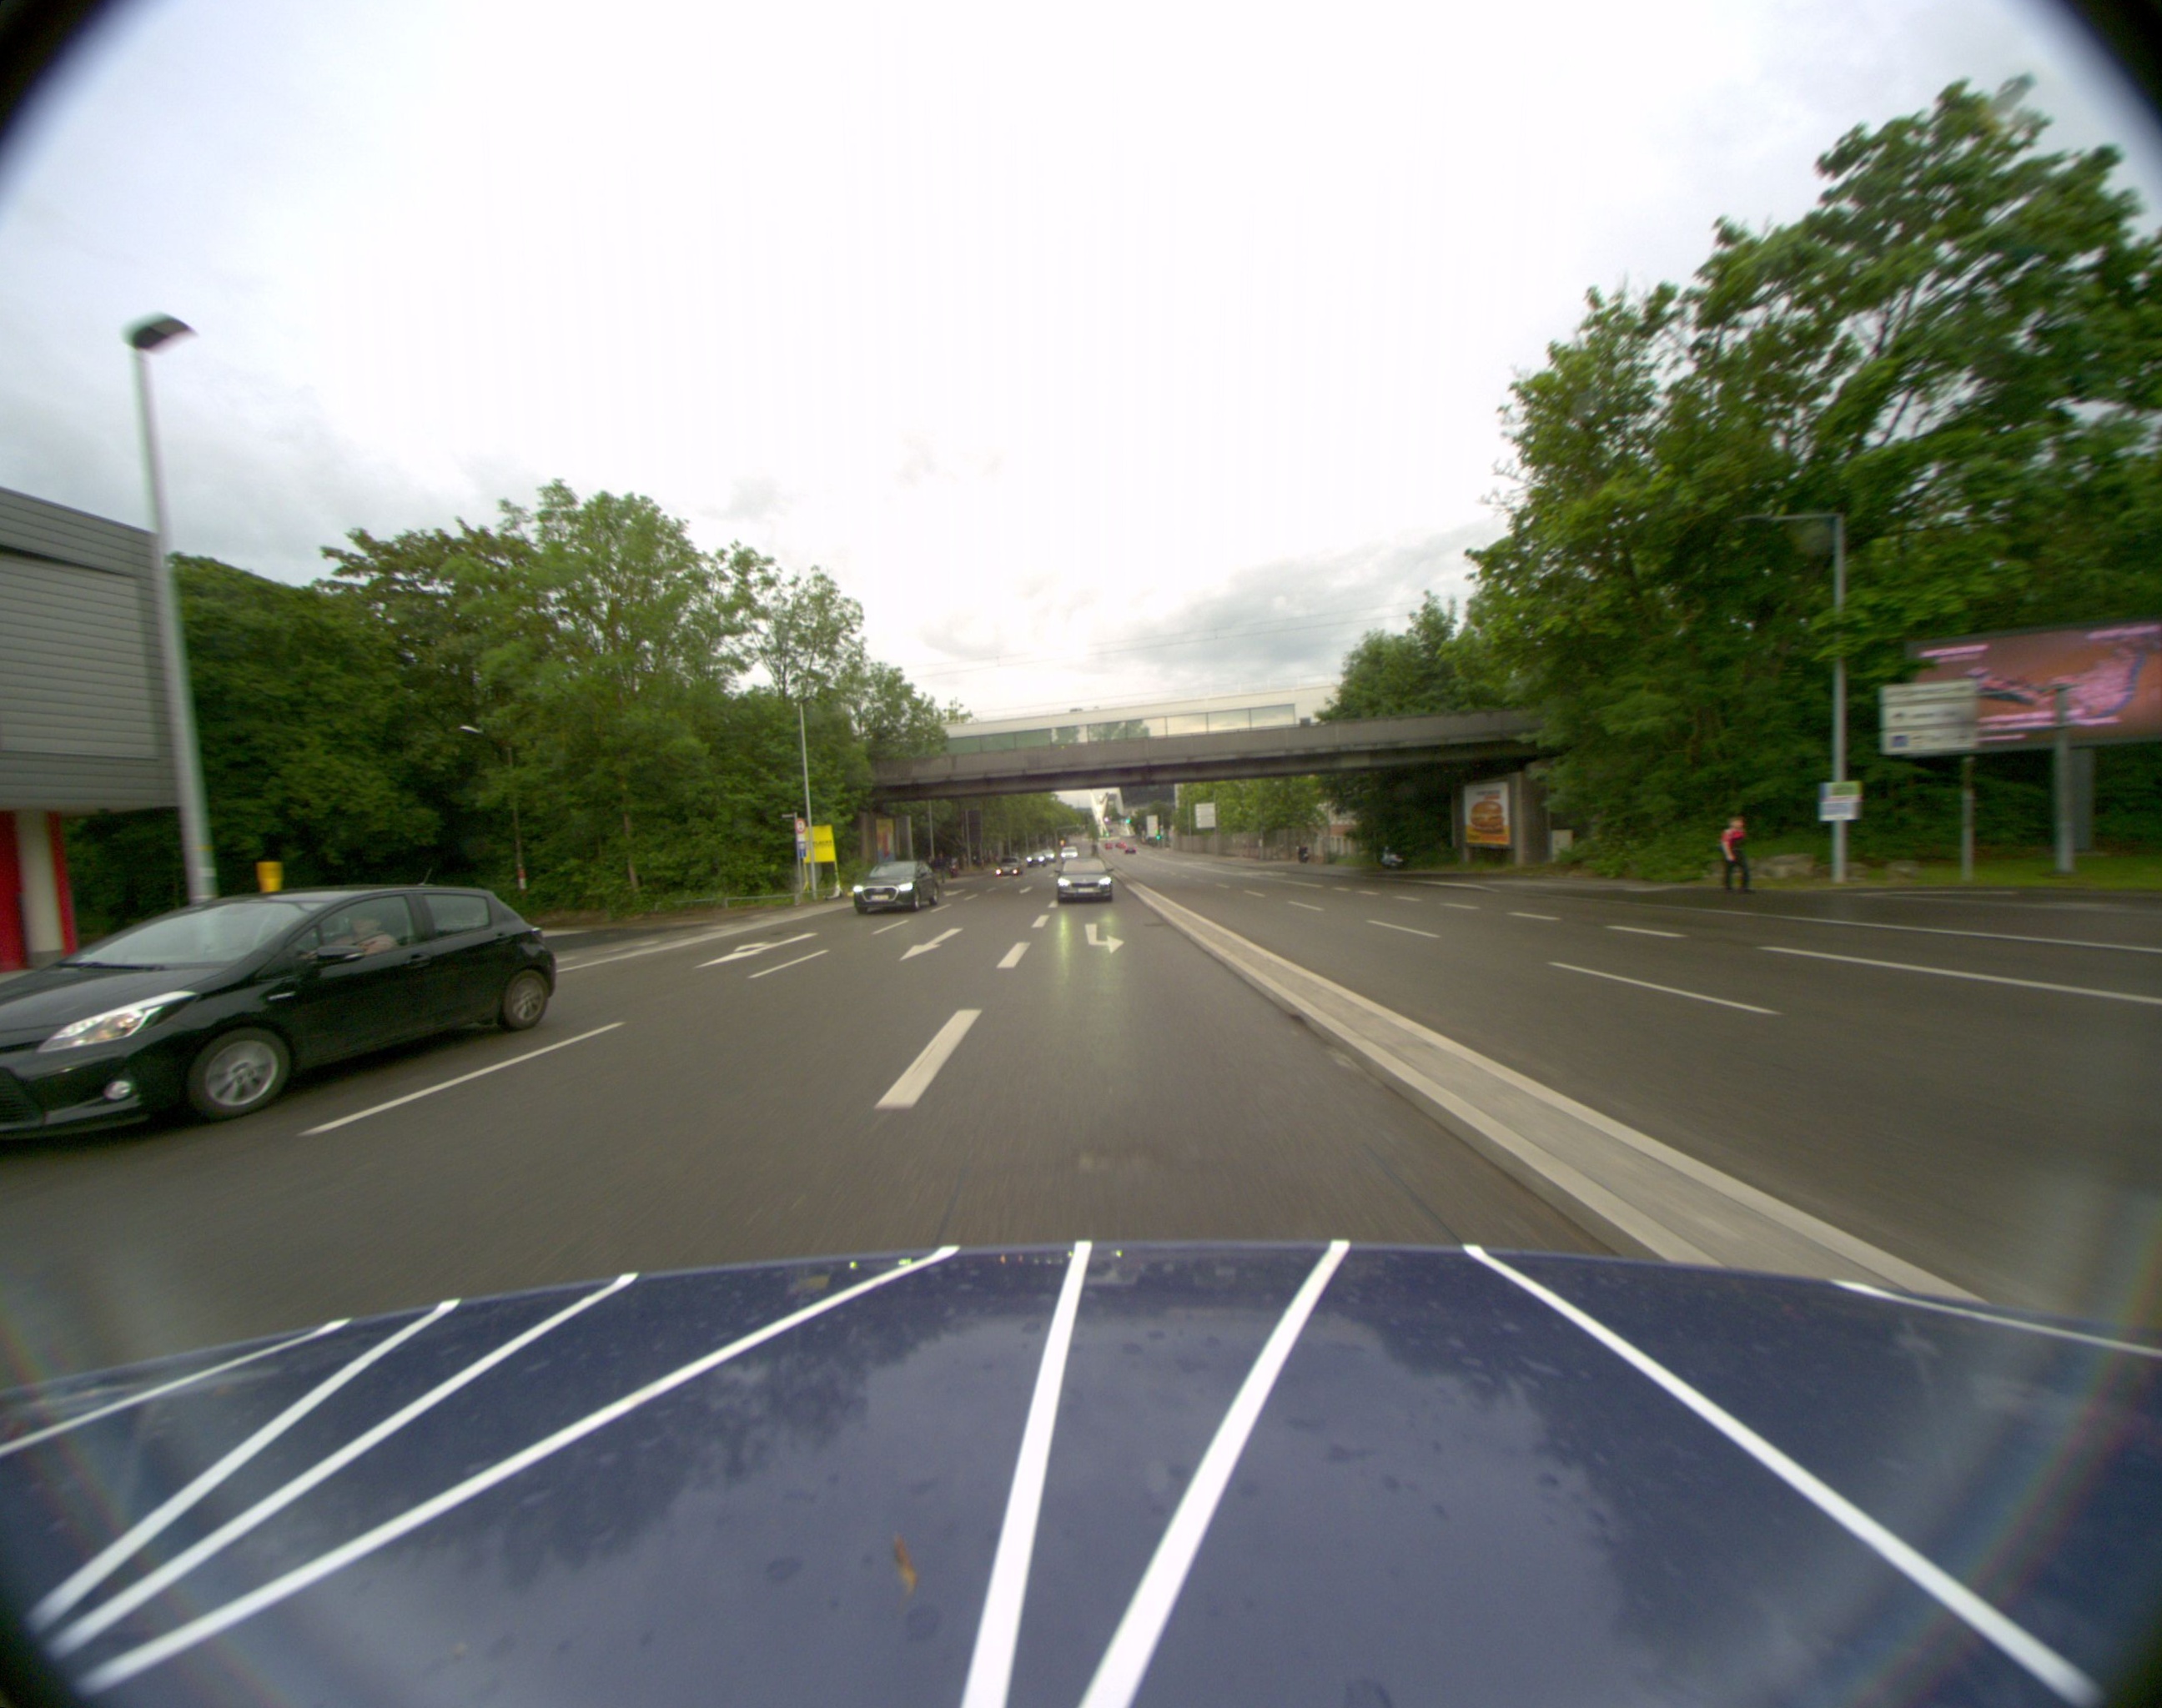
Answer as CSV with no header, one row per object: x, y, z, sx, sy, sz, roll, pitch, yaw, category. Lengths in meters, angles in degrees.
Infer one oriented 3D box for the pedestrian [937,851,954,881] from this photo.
-7.883,0.679,44.187,0.612,1.711,0.892,-2,2,11,pedestrian

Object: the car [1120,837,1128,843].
10.859,-3.477,191.670,1.719,1.429,3.770,-1,2,0,car

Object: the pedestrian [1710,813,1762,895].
14.936,-0.013,17.336,0.520,1.805,0.800,-3,1,11,pedestrian

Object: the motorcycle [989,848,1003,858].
-10.493,-0.095,93.743,1.656,1.144,0.493,-4,3,9,motorcycle

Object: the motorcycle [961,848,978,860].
-13.927,0.014,94.714,1.933,1.357,0.506,-5,3,-4,motorcycle

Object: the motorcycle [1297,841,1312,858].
16.267,-0.313,55.322,0.470,1.198,1.996,-2,1,1,motorcycle

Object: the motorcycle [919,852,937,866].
-14.708,0.465,73.044,0.348,1.272,2.074,-2,1,29,motorcycle

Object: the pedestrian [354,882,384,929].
-28.640,2.070,30.560,0.585,1.805,0.626,-3,2,29,pedestrian

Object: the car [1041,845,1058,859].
-4.088,-0.300,98.425,1.820,1.571,4.331,-3,2,1,car

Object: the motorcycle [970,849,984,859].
-13.591,0.028,98.920,1.641,1.139,0.560,-4,3,12,motorcycle

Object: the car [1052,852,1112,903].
0.084,0.729,25.717,1.820,1.536,4.063,-2,0,1,car

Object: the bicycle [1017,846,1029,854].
-9.129,-0.559,118.990,1.793,1.161,0.447,-2,2,-5,bicycle

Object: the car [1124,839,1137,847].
8.957,-1.926,137.281,2.069,1.354,4.755,-2,1,0,car

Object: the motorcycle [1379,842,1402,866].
15.817,-0.011,38.854,0.469,1.152,1.932,-2,1,4,motorcycle

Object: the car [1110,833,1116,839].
10.308,-5.882,246.361,1.775,1.581,4.484,-2,2,3,car

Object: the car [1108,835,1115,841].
7.602,-4.025,190.082,1.589,1.596,3.854,-1,2,1,car

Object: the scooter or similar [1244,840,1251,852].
16.759,-0.817,76.484,0.312,1.211,1.307,-2,1,2,scooter or similar

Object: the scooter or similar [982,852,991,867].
-8.788,0.525,70.477,0.312,1.291,1.308,-2,2,13,scooter or similar

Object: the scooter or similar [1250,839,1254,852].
16.689,-0.797,73.984,0.312,1.211,1.309,-2,1,13,scooter or similar

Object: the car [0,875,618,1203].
-6.318,1.118,6.432,1.749,1.462,4.639,-4,2,1,car

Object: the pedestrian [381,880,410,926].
-28.226,2.018,31.293,0.585,1.805,0.602,-3,2,29,pedestrian

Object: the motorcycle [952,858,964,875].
-8.768,0.884,54.338,0.470,1.130,1.818,-2,2,1,motorcycle

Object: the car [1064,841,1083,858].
-0.868,-0.582,92.677,2.035,1.920,4.331,-3,2,1,car

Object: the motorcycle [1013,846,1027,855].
-9.065,-0.558,113.271,2.012,1.266,0.442,-2,2,14,motorcycle

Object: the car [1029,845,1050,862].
-4.503,-0.059,82.717,1.825,1.581,4.331,-3,2,1,car

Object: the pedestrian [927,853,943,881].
-8.542,0.757,44.452,0.651,1.587,0.579,-2,2,13,pedestrian

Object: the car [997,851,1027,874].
-5.266,0.638,58.461,1.749,1.422,4.515,-4,2,1,car

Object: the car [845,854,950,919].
-5.682,0.922,24.339,1.820,1.536,5.606,-3,2,1,car

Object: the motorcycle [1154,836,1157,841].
18.172,-3.867,185.283,0.569,1.156,2.038,-2,2,0,motorcycle

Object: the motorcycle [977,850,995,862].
-10.430,0.221,83.759,1.855,1.184,0.521,-3,2,-14,motorcycle

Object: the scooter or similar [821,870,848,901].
-9.984,1.267,30.752,0.256,1.123,1.281,-3,1,18,scooter or similar

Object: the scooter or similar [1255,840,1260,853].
16.628,-0.697,71.566,0.312,1.211,1.308,-2,1,6,scooter or similar
